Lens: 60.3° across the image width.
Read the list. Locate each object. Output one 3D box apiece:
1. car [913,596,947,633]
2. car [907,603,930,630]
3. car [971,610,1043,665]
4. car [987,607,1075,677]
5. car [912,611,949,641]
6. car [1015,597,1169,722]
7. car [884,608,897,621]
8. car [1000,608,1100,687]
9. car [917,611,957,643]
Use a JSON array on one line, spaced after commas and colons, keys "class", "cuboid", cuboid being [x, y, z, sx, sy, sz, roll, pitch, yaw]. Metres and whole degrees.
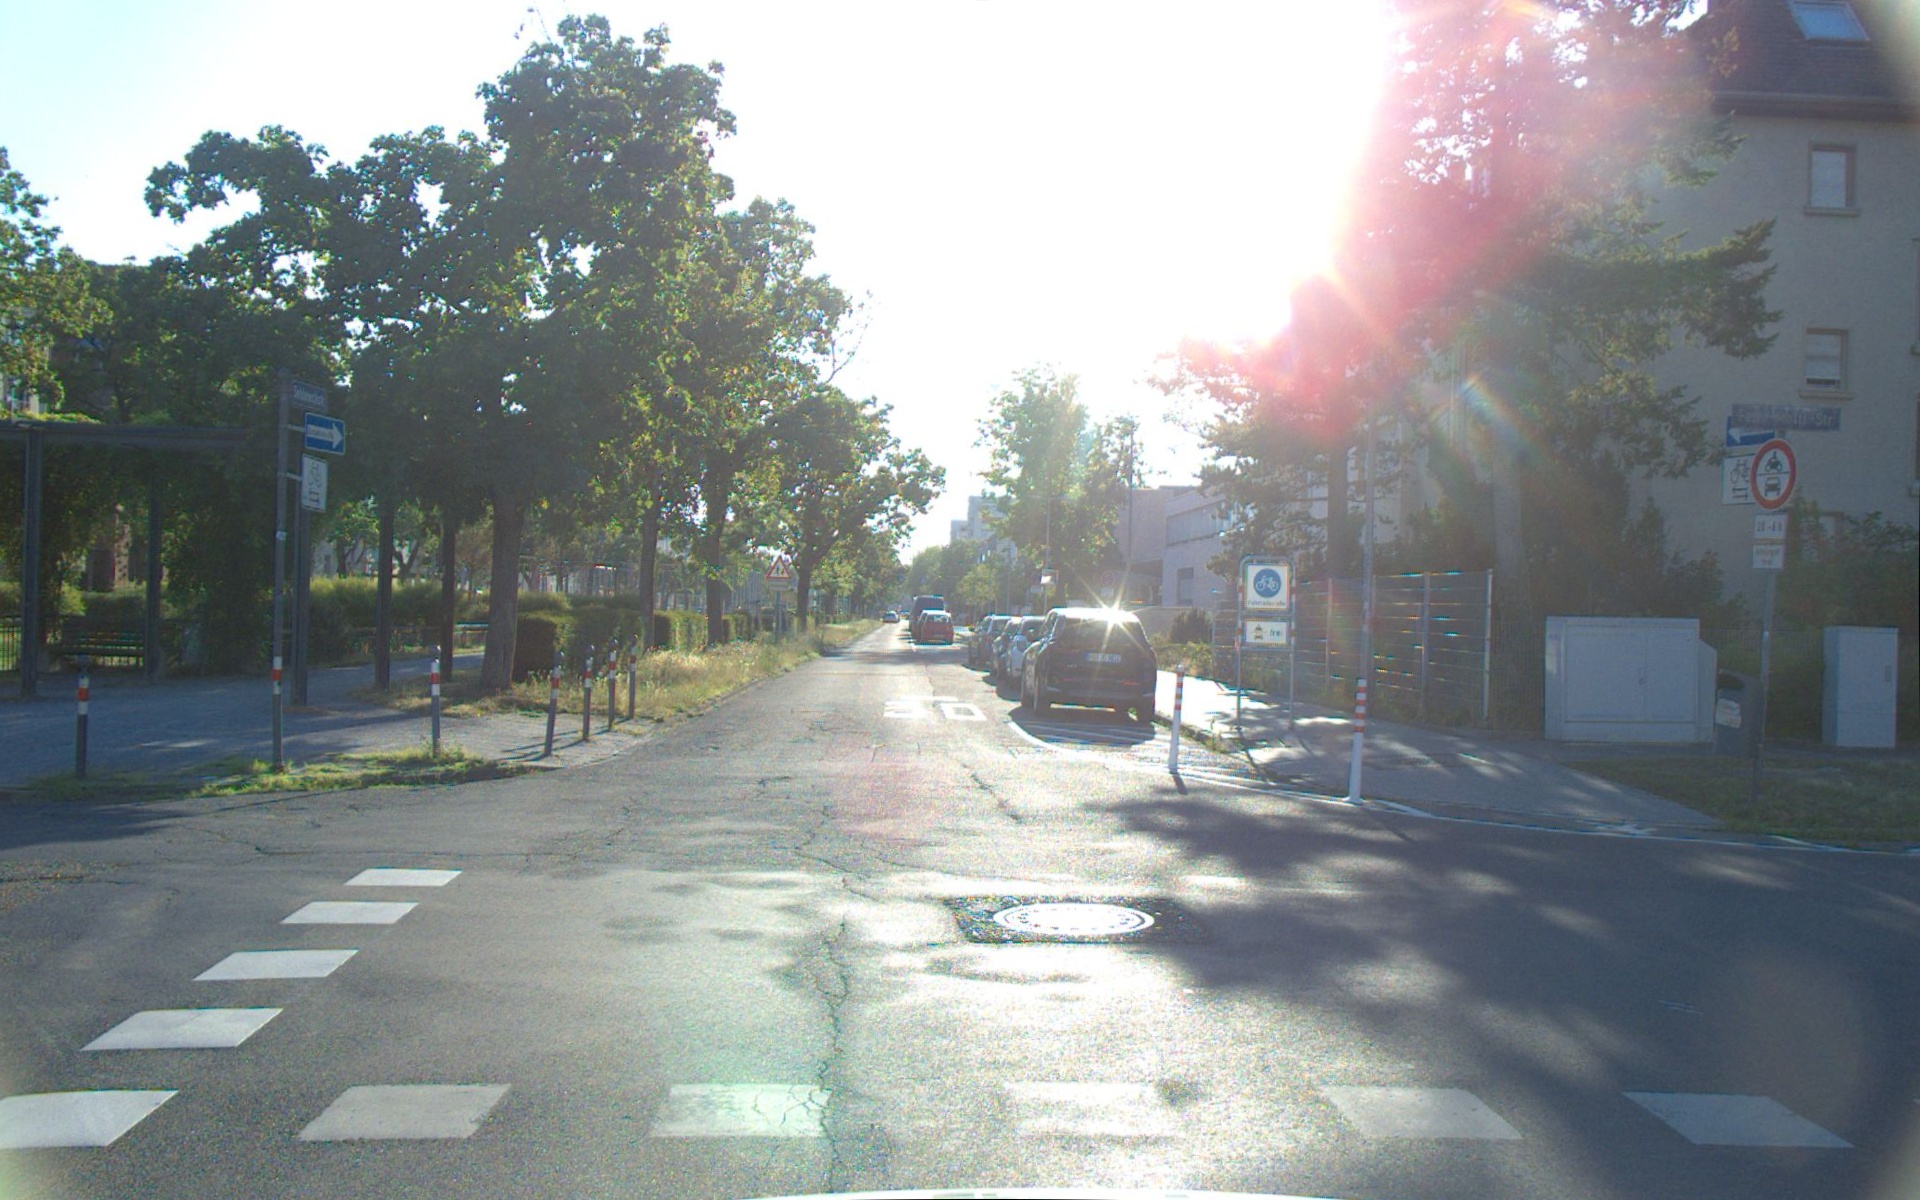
[{"class": "car", "cuboid": [-1.861, 0.881, 101.222, 1.953, 2.161, 3.998, 1, -1, -2]}, {"class": "car", "cuboid": [-3.534, 1.383, 140.347, 1.953, 2.161, 3.998, 1, -1, -2]}, {"class": "car", "cuboid": [1.346, 1.069, 48.708, 1.730, 1.553, 3.769, 0, -1, -5]}, {"class": "car", "cuboid": [1.649, 0.976, 39.575, 1.695, 1.545, 3.757, 1, -1, -3]}, {"class": "car", "cuboid": [-1.599, 1.363, 87.888, 1.696, 1.545, 3.756, 1, -1, -5]}, {"class": "car", "cuboid": [1.966, 0.874, 25.785, 1.781, 1.670, 4.214, 4, -1, -3]}, {"class": "car", "cuboid": [-9.693, 2.029, 230.761, 1.828, 1.646, 3.997, 1, -1, -3]}, {"class": "car", "cuboid": [1.821, 0.962, 34.652, 1.730, 1.553, 3.771, 0, -1, -3]}, {"class": "car", "cuboid": [-1.193, 1.339, 83.473, 1.722, 1.545, 3.756, 1, -1, -5]}]
